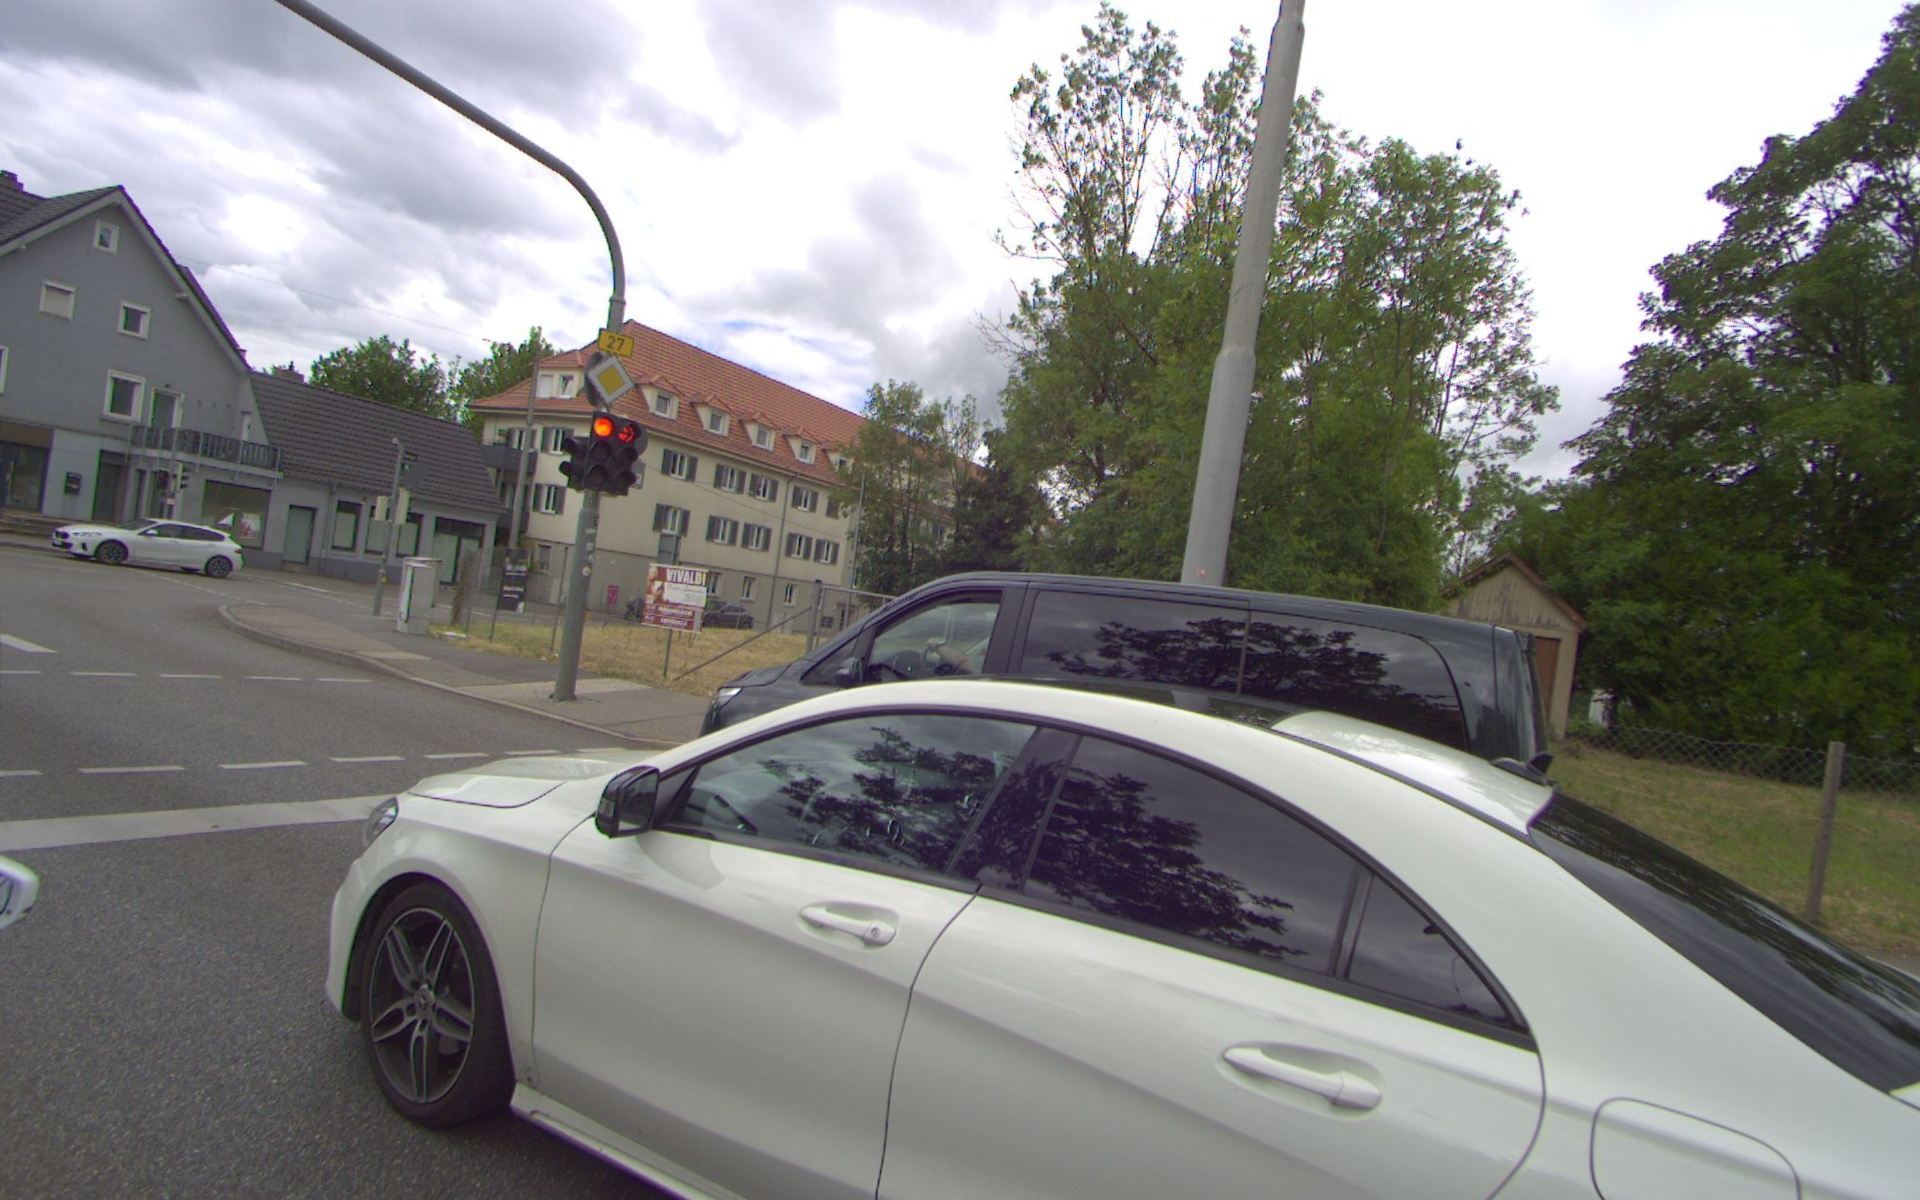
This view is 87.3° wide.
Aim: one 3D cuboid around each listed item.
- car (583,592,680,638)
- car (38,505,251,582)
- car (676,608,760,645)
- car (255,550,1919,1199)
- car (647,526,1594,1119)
[{"bbox_3d":[-15.525,0.735,47.671,1.839,1.554,3.996,7,-2,32],"label":"car"},{"bbox_3d":[-23.507,-1.593,29.189,1.965,1.494,4.255,7,-2,27],"label":"car"},{"bbox_3d":[-12.630,1.398,52.659,1.839,1.393,3.996,7,-2,32],"label":"car"},{"bbox_3d":[0.154,0.844,2.650,4.305,1.451,1.651,7,0,32],"label":"car"},{"bbox_3d":[0.697,0.812,5.662,4.631,1.860,1.953,7,-2,32],"label":"car"}]
